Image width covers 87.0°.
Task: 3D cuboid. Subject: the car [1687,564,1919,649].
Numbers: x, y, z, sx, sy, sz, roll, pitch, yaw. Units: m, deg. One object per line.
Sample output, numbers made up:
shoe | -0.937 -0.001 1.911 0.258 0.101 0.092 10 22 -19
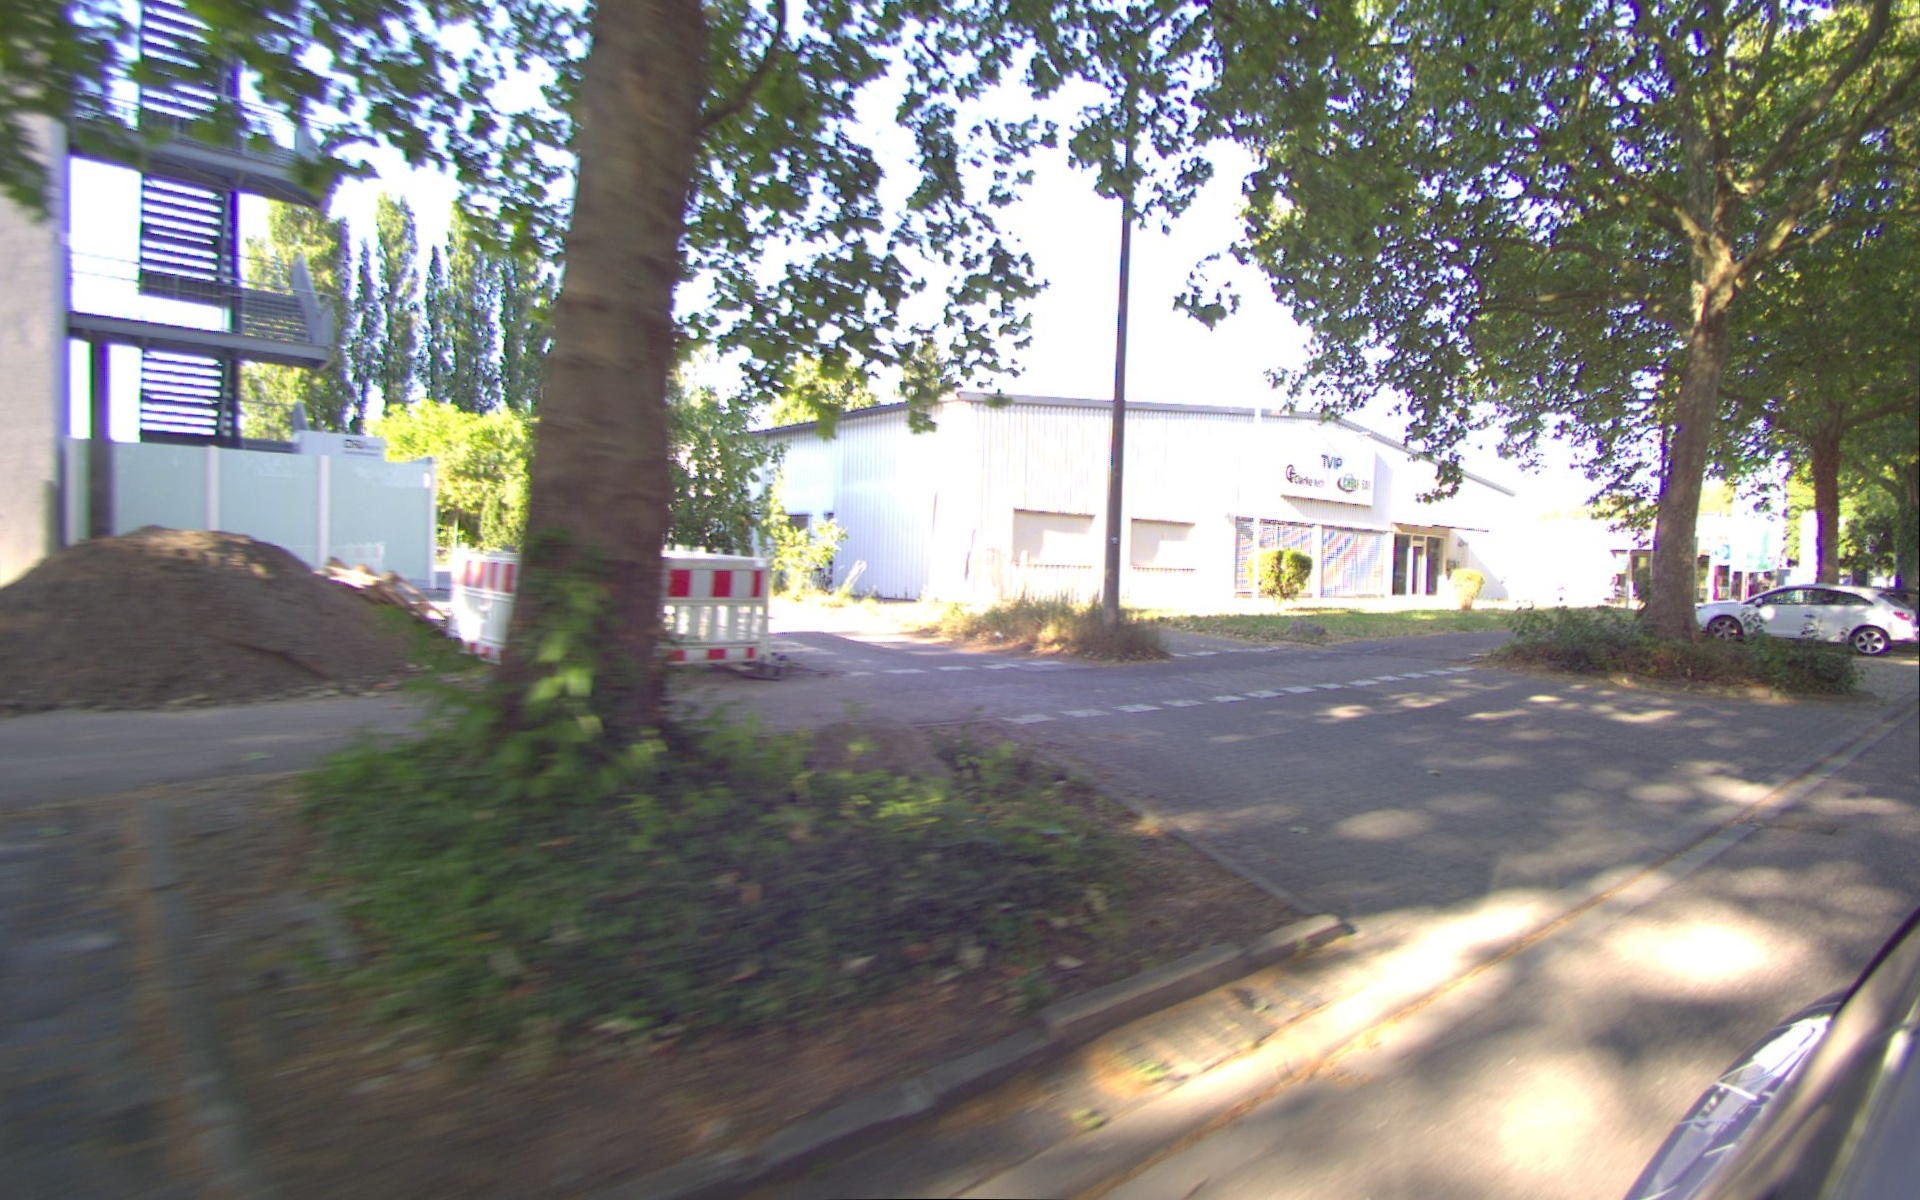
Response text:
car | 18.628 0.055 22.282 1.638 1.531 3.944 -1 5 -40

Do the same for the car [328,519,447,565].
car | -23.531 -2.327 41.673 3.932 1.770 1.996 -2 1 -42

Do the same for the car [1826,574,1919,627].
car | 29.066 0.057 30.443 4.396 1.435 1.968 6 5 45
